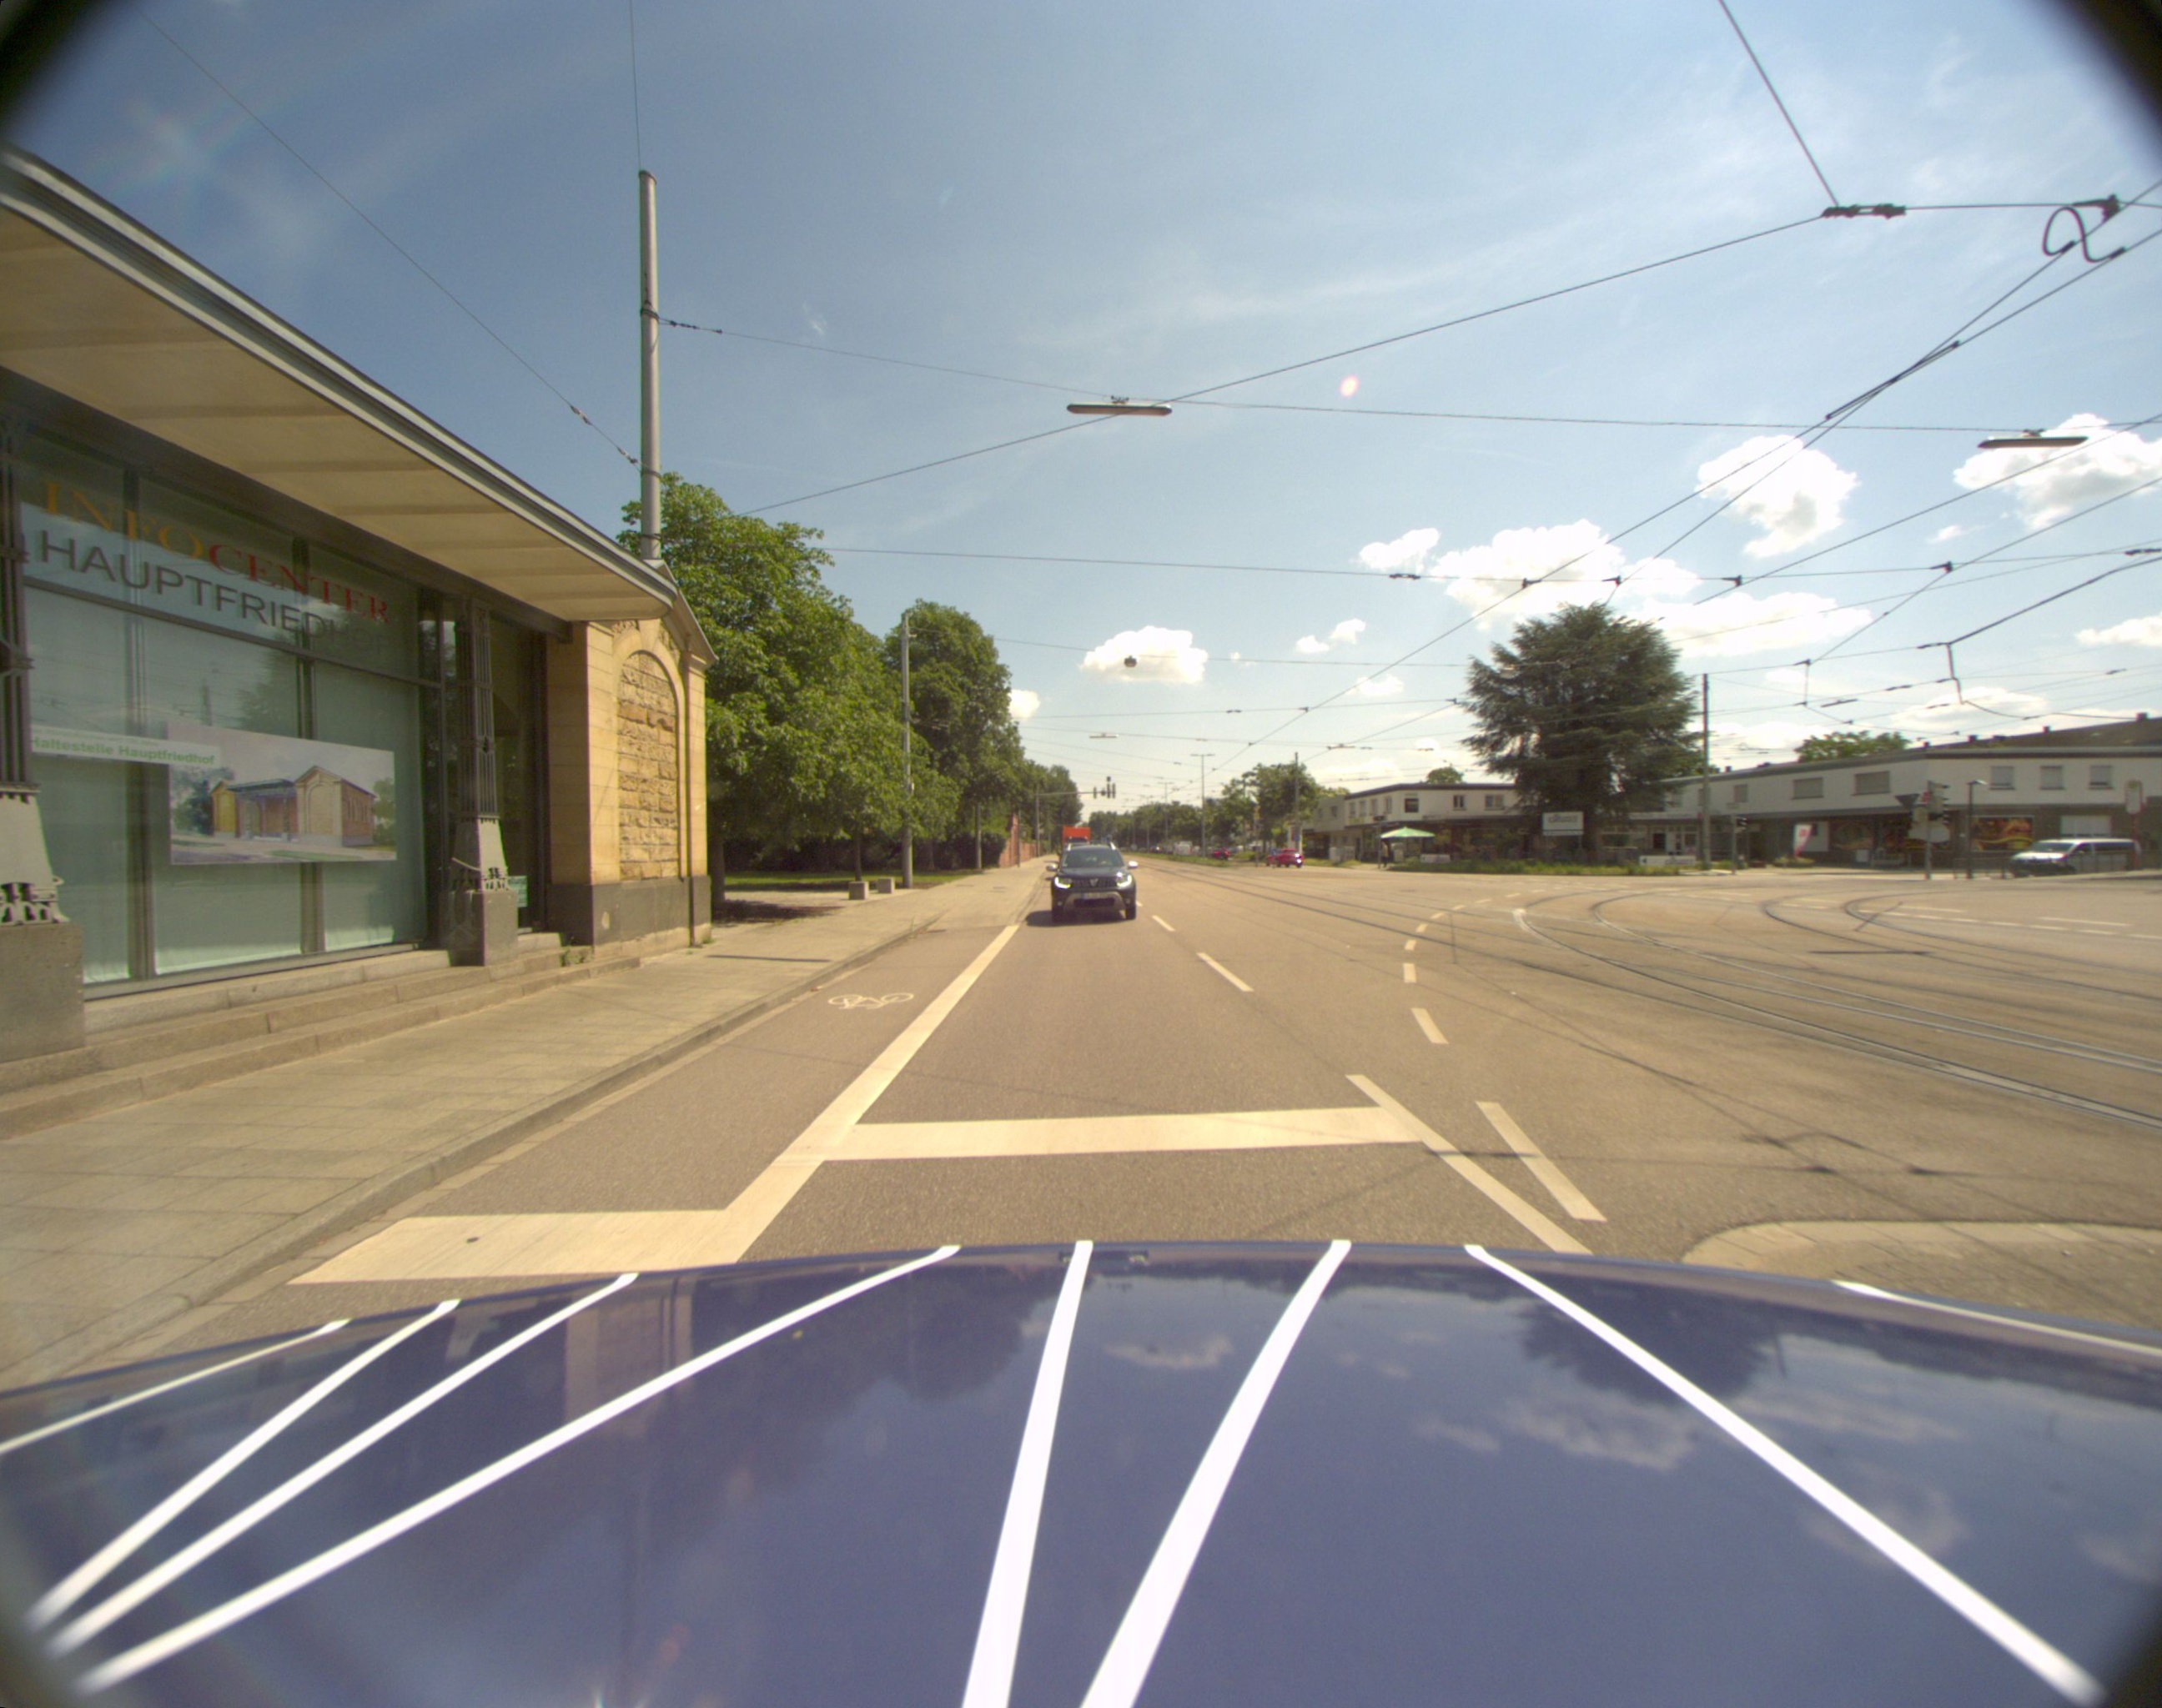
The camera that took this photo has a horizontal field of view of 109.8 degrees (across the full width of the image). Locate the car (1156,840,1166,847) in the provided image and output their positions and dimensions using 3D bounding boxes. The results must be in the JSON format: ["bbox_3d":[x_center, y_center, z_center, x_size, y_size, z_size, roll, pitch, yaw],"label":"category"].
[{"bbox_3d":[18.284,-2.425,173.075,1.745,1.684,3.999,0,1,-1],"label":"car"}]

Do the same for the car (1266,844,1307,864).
[{"bbox_3d":[16.230,-0.027,60.164,1.998,1.441,4.820,0,1,1],"label":"car"}]

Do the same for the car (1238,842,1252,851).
[{"bbox_3d":[30.232,-1.417,140.186,1.745,1.684,3.999,0,1,-1],"label":"car"}]

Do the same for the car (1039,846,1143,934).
[{"bbox_3d":[0.260,0.653,16.299,1.845,1.565,4.487,-2,0,2],"label":"car"}]

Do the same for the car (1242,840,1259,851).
[{"bbox_3d":[28.211,-1.427,126.617,1.745,1.684,3.999,0,1,-1],"label":"car"}]

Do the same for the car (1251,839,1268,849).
[{"bbox_3d":[28.472,-1.590,121.426,1.745,1.684,3.999,0,1,-1],"label":"car"}]

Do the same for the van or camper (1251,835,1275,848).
[{"bbox_3d":[42.688,-2.940,178.605,5.158,3.100,2.246,0,1,-1],"label":"van or camper"}]

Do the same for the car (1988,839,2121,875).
[{"bbox_3d":[47.962,0.133,37.509,3.997,1.718,1.999,0,1,-1],"label":"car"}]

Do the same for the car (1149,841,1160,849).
[{"bbox_3d":[14.244,-1.791,147.056,1.745,1.587,3.999,0,1,-1],"label":"car"}]

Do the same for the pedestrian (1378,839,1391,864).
[{"bbox_3d":[22.790,-0.194,57.055,0.488,1.765,0.682,-6,3,-19],"label":"pedestrian"}]

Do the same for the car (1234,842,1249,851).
[{"bbox_3d":[28.533,-1.338,134.881,1.745,1.684,3.999,0,1,-1],"label":"car"}]

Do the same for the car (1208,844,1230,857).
[{"bbox_3d":[15.583,-0.428,85.936,1.784,1.346,3.999,0,1,-1],"label":"car"}]

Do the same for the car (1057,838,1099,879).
[{"bbox_3d":[-0.151,0.174,38.610,1.999,2.002,3.999,0,1,0],"label":"car"}]

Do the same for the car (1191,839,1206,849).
[{"bbox_3d":[19.184,-1.609,123.820,1.745,1.587,3.999,0,1,-1],"label":"car"}]

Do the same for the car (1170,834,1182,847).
[{"bbox_3d":[18.851,-2.722,150.888,1.745,2.574,3.999,0,1,-1],"label":"car"}]

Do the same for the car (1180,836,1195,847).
[{"bbox_3d":[19.047,-2.245,136.309,1.967,1.954,3.999,0,1,-1],"label":"car"}]

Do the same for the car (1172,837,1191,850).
[{"bbox_3d":[14.535,-1.557,109.781,1.863,1.865,4.553,0,1,-4],"label":"car"}]
